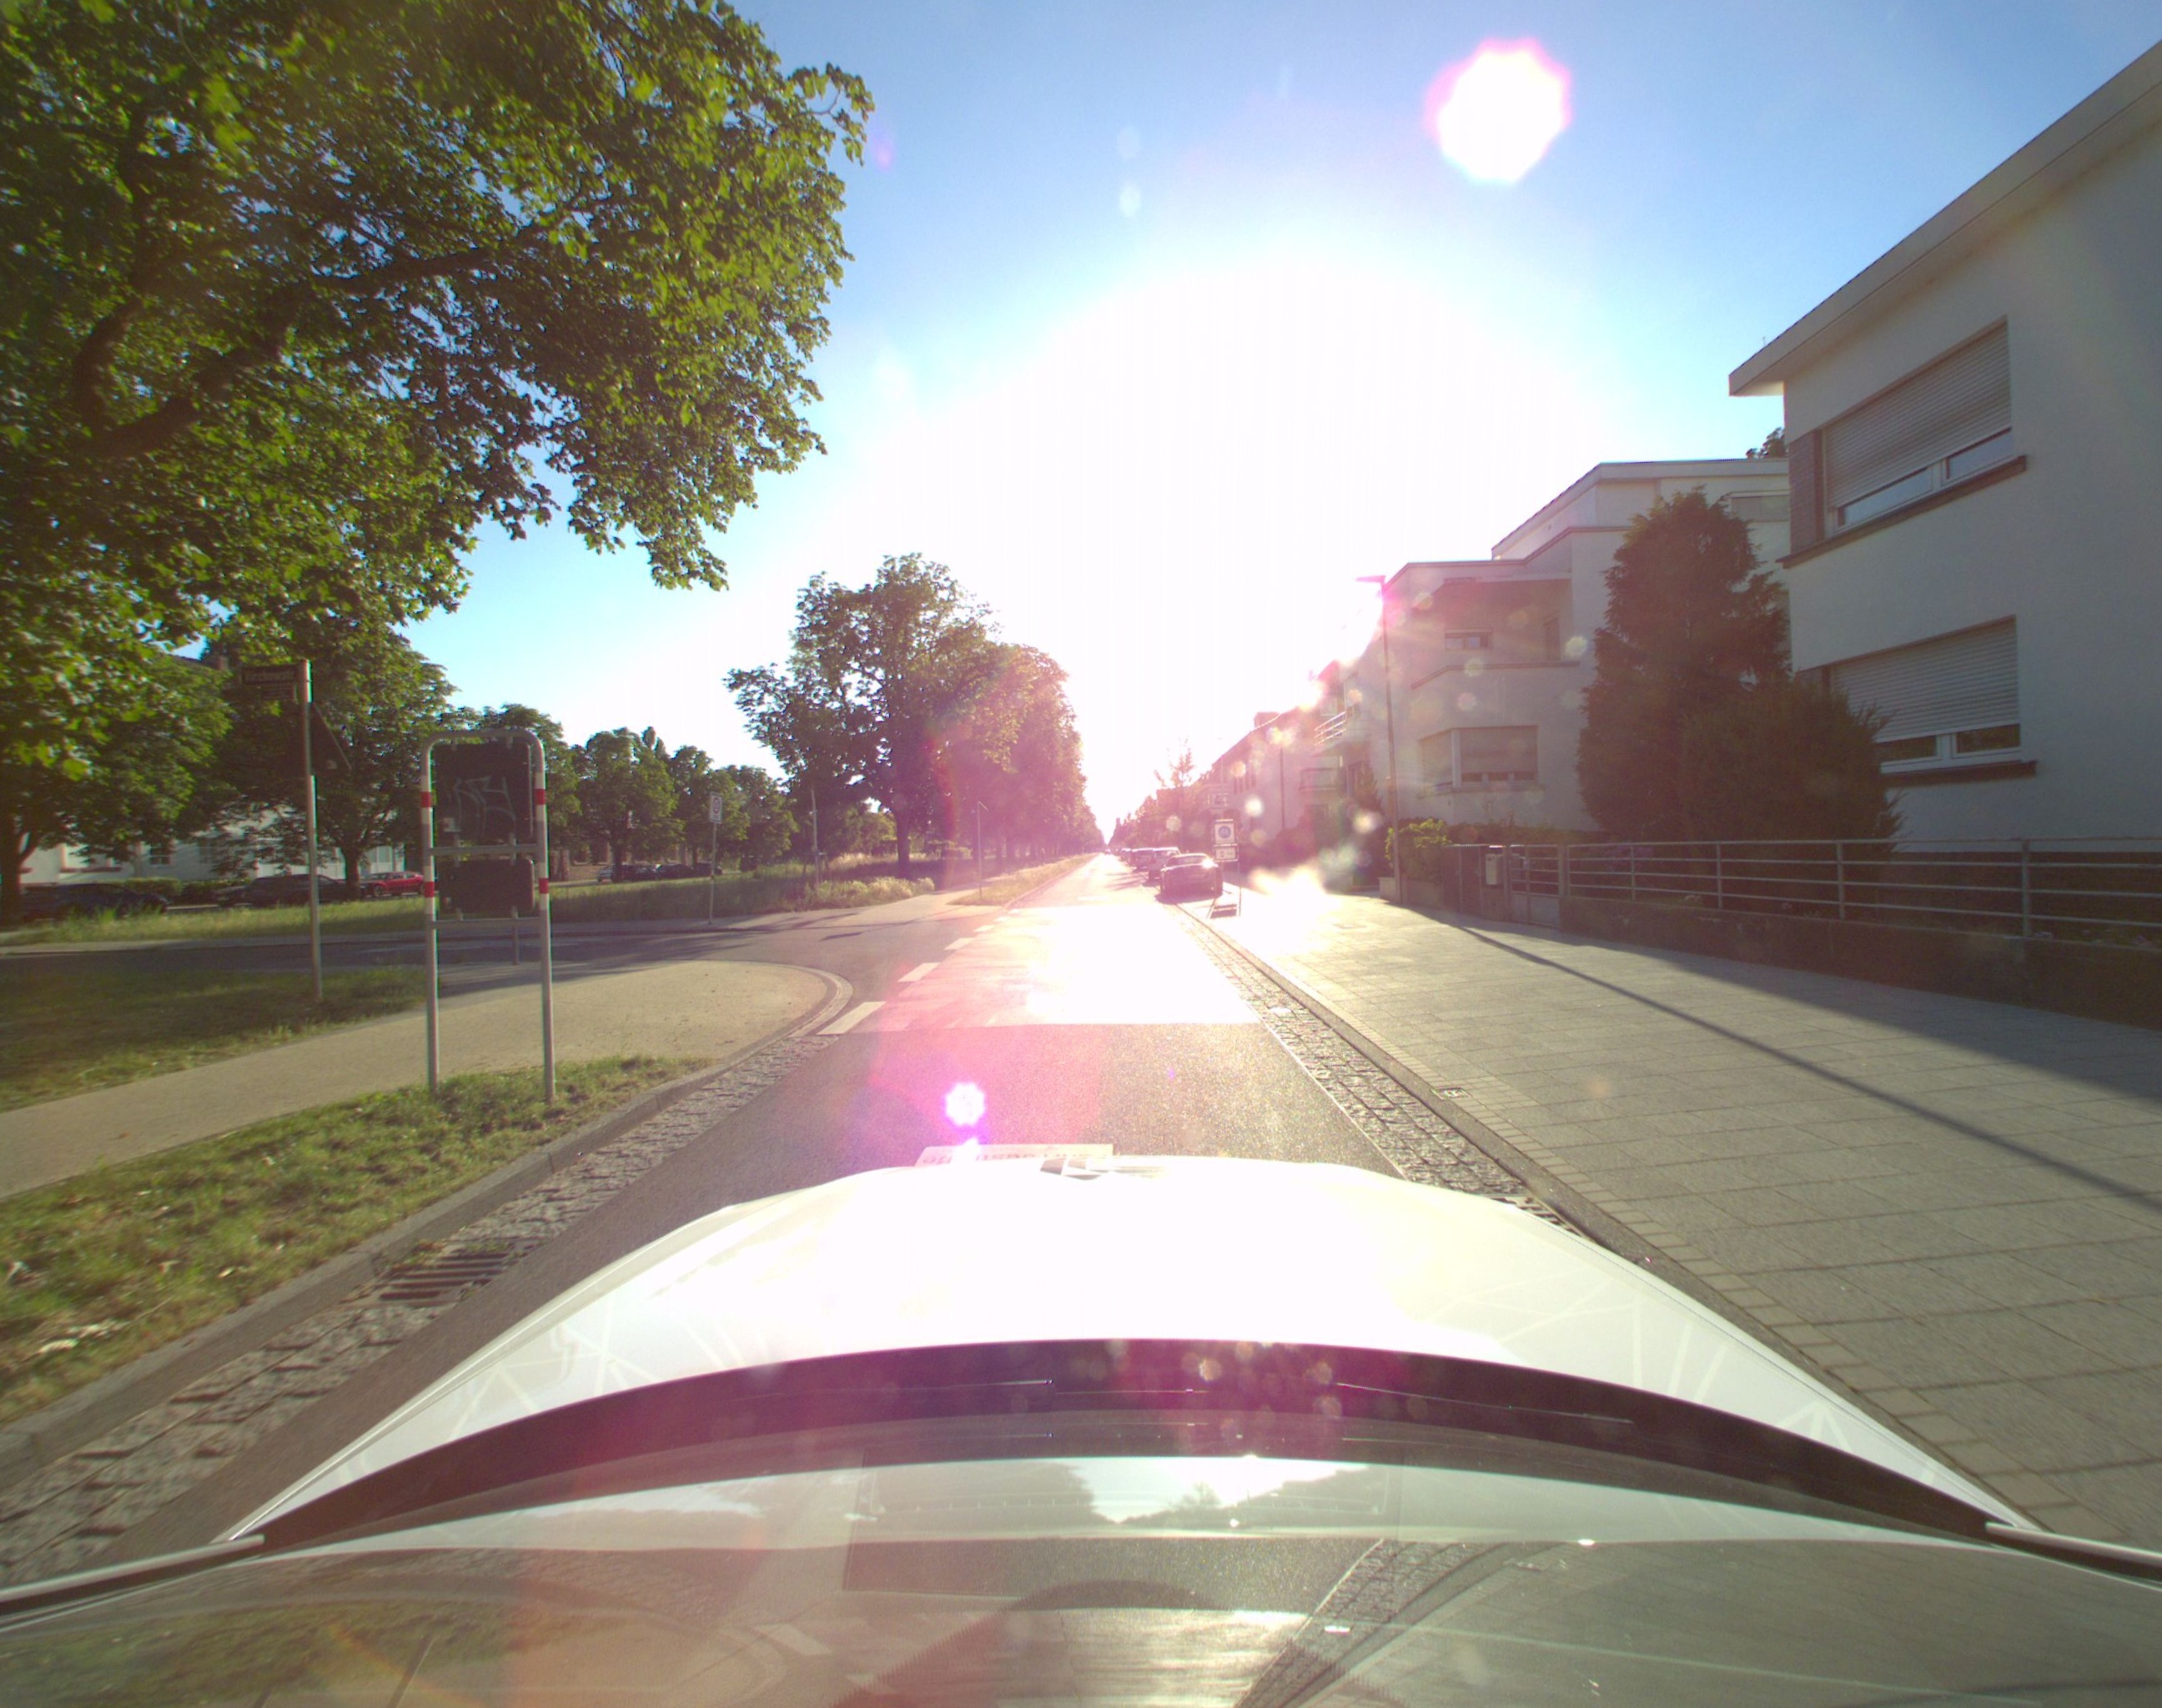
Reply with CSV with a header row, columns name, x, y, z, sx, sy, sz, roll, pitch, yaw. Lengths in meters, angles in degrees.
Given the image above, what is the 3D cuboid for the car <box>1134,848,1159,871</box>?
name,x,y,z,sx,sy,sz,roll,pitch,yaw
car,4.709,0.351,59.049,1.621,1.504,3.635,-4,1,3

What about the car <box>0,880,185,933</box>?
name,x,y,z,sx,sy,sz,roll,pitch,yaw
car,-36.269,1.874,30.086,1.688,1.597,4.219,-1,0,-1

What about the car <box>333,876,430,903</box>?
name,x,y,z,sx,sy,sz,roll,pitch,yaw
car,-40.585,2.033,47.409,1.564,1.332,4.482,-1,0,3

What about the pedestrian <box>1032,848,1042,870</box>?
name,x,y,z,sx,sy,sz,roll,pitch,yaw
pedestrian,-3.715,0.391,68.888,0.621,1.831,0.887,-2,0,5

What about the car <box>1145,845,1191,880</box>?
name,x,y,z,sx,sy,sz,roll,pitch,yaw
car,4.128,0.381,39.195,1.738,1.474,3.923,-5,0,1

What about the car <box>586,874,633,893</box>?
name,x,y,z,sx,sy,sz,roll,pitch,yaw
car,-40.465,2.516,69.971,1.623,1.405,4.002,-1,0,2

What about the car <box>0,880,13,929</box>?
name,x,y,z,sx,sy,sz,roll,pitch,yaw
car,-36.509,1.703,24.796,1.687,1.597,4.754,-1,0,-1

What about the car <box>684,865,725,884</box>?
name,x,y,z,sx,sy,sz,roll,pitch,yaw
car,-34.991,1.895,75.832,1.686,1.597,4.222,-1,0,1

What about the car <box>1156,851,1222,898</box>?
name,x,y,z,sx,sy,sz,roll,pitch,yaw
car,3.609,0.629,27.807,1.768,1.288,4.275,-5,1,2

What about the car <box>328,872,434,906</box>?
name,x,y,z,sx,sy,sz,roll,pitch,yaw
car,-35.246,1.742,41.179,1.687,1.476,4.221,-1,0,0

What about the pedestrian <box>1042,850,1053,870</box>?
name,x,y,z,sx,sy,sz,roll,pitch,yaw
pedestrian,-2.861,0.497,68.973,0.779,1.614,0.953,-2,0,5

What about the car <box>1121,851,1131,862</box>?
name,x,y,z,sx,sy,sz,roll,pitch,yaw
car,7.056,0.349,126.656,1.492,1.567,3.269,-2,0,3

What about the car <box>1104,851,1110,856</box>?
name,x,y,z,sx,sy,sz,roll,pitch,yaw
car,7.730,-0.057,244.356,1.646,1.541,3.268,-1,0,2

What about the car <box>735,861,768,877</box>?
name,x,y,z,sx,sy,sz,roll,pitch,yaw
car,-34.734,1.572,85.885,1.686,1.597,4.222,-1,0,1

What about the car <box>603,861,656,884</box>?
name,x,y,z,sx,sy,sz,roll,pitch,yaw
car,-35.318,1.410,63.809,1.686,1.597,4.222,-1,0,1

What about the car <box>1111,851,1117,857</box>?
name,x,y,z,sx,sy,sz,roll,pitch,yaw
car,9.421,-0.069,233.253,1.645,1.541,3.269,-1,0,3

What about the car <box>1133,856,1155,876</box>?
name,x,y,z,sx,sy,sz,roll,pitch,yaw
car,5.230,0.981,67.745,1.649,1.494,3.722,-3,0,5

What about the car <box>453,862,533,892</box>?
name,x,y,z,sx,sy,sz,roll,pitch,yaw
car,-35.523,1.349,49.329,1.686,1.597,4.222,-1,0,1

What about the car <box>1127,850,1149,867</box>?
name,x,y,z,sx,sy,sz,roll,pitch,yaw
car,5.223,0.421,75.464,1.731,1.449,4.197,-3,0,1

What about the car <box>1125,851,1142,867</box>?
name,x,y,z,sx,sy,sz,roll,pitch,yaw
car,5.433,0.527,84.363,1.586,1.510,3.594,-2,0,2

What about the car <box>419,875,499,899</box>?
name,x,y,z,sx,sy,sz,roll,pitch,yaw
car,-40.358,2.131,52.949,1.564,1.332,4.482,-1,0,3

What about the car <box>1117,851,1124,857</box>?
name,x,y,z,sx,sy,sz,roll,pitch,yaw
car,9.148,0.017,189.100,1.645,1.541,3.269,-1,0,3

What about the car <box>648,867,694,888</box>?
name,x,y,z,sx,sy,sz,roll,pitch,yaw
car,-35.043,2.000,69.721,1.686,1.597,4.222,-1,0,1
